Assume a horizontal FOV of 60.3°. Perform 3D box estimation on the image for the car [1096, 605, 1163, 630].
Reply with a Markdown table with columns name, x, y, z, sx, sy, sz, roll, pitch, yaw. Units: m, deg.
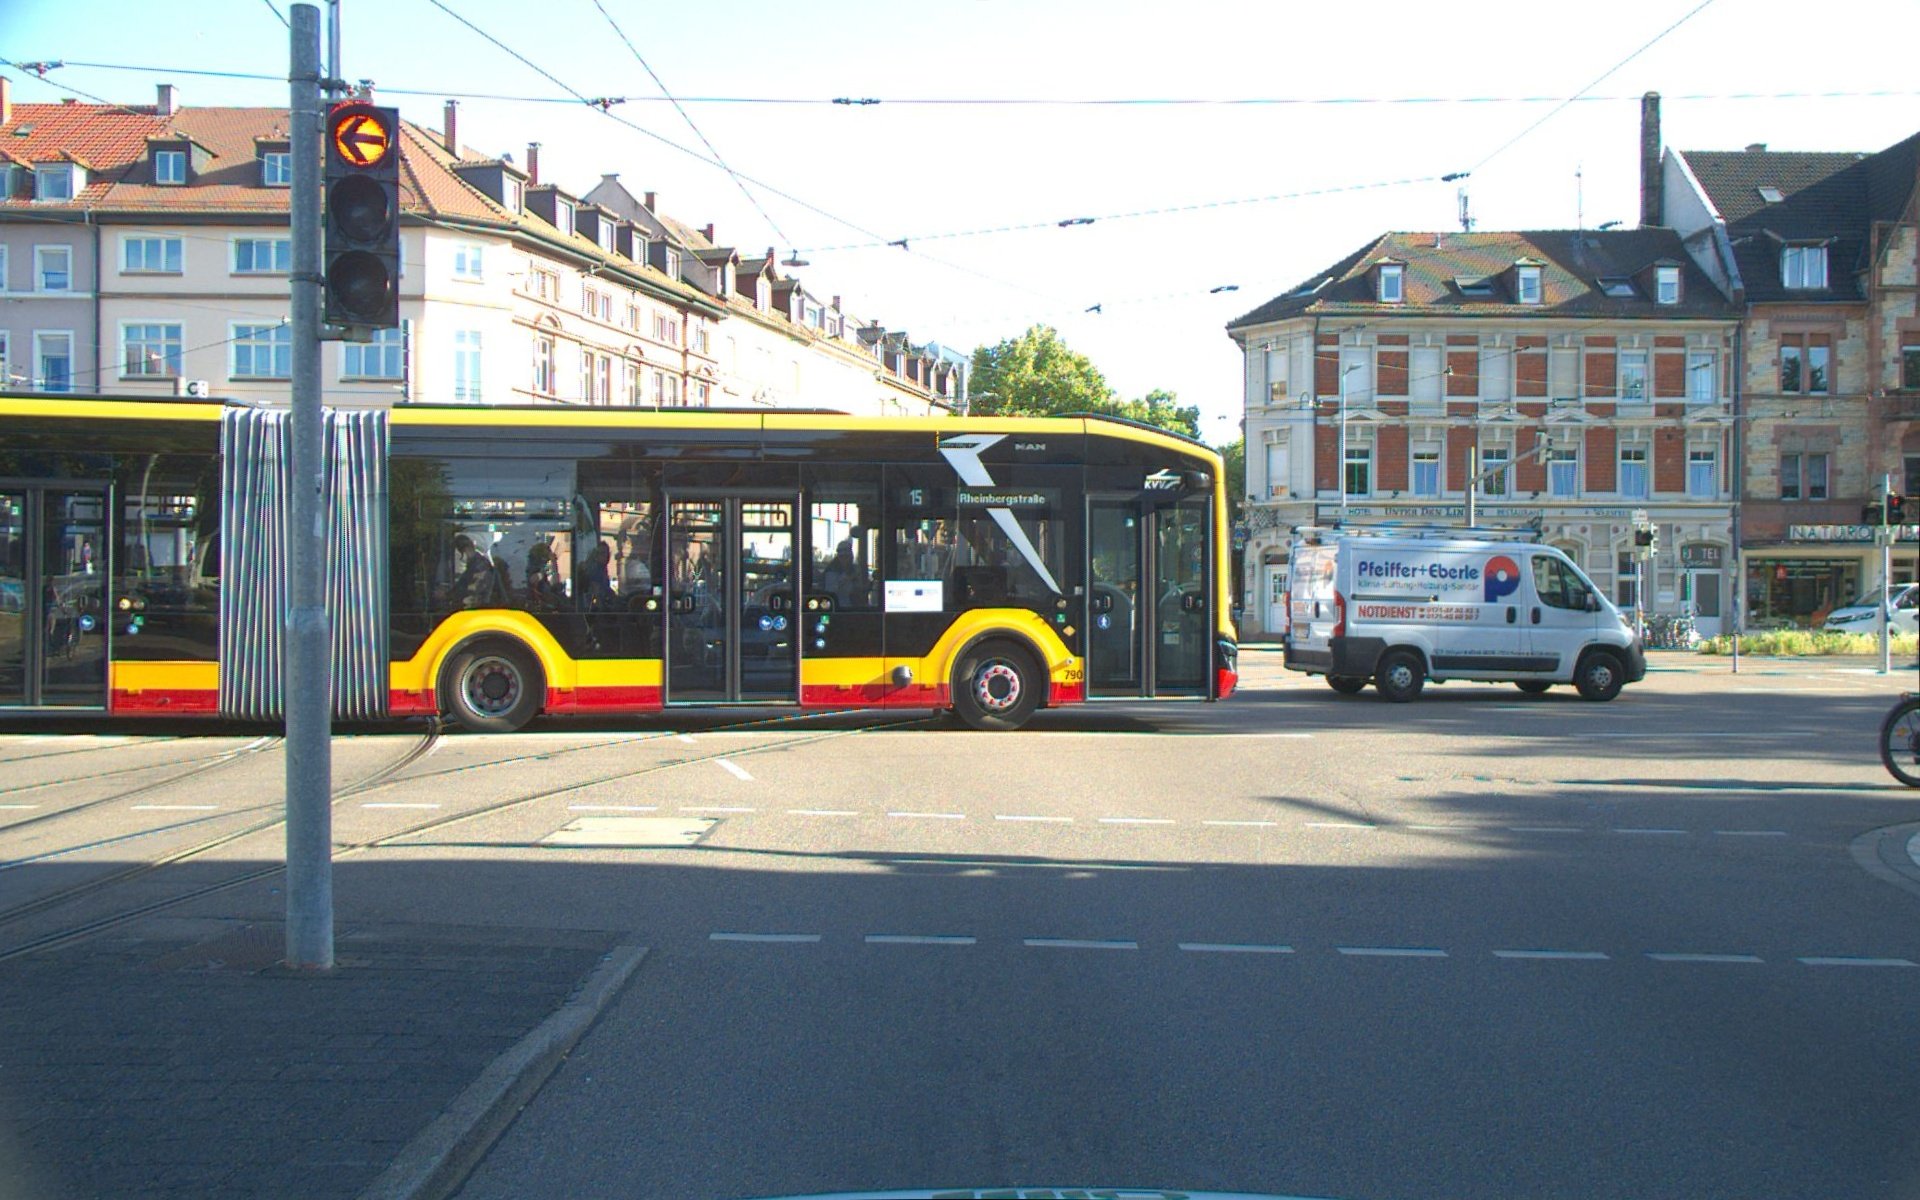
| name | x | y | z | sx | sy | sz | roll | pitch | yaw |
| --- | --- | --- | --- | --- | --- | --- | --- | --- | --- |
| car | 10.246 | 1.026 | 99.836 | 3.902 | 1.480 | 1.683 | 0 | 0 | 10 |

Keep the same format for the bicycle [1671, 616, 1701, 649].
| name | x | y | z | sx | sy | sz | roll | pitch | yaw |
| --- | --- | --- | --- | --- | --- | --- | --- | --- | --- |
| bicycle | 23.588 | 1.039 | 53.755 | 0.476 | 1.038 | 1.785 | 0 | 0 | 9 |

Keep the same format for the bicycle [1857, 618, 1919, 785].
| name | x | y | z | sx | sy | sz | roll | pitch | yaw |
| --- | --- | --- | --- | --- | --- | --- | --- | --- | --- |
| bicycle | 8.472 | 0.825 | 13.570 | 1.901 | 1.321 | 0.623 | 1 | 0 | -3 |

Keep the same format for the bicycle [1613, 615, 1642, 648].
| name | x | y | z | sx | sy | sz | roll | pitch | yaw |
| --- | --- | --- | --- | --- | --- | --- | --- | --- | --- |
| bicycle | 21.610 | 1.004 | 53.564 | 0.476 | 1.038 | 1.785 | 0 | 0 | 9 |

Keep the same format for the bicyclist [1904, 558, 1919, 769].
| name | x | y | z | sx | sy | sz | roll | pitch | yaw |
| --- | --- | --- | --- | --- | --- | --- | --- | --- | --- |
| bicyclist | 8.344 | 0.528 | 13.566 | 0.782 | 1.745 | 0.733 | 0 | 0 | -3 |

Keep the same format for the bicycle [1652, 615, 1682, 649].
| name | x | y | z | sx | sy | sz | roll | pitch | yaw |
| --- | --- | --- | --- | --- | --- | --- | --- | --- | --- |
| bicycle | 22.903 | 1.026 | 53.573 | 0.476 | 1.038 | 1.785 | 0 | 0 | 9 |

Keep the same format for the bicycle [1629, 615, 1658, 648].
| name | x | y | z | sx | sy | sz | roll | pitch | yaw |
| --- | --- | --- | --- | --- | --- | --- | --- | --- | --- |
| bicycle | 22.108 | 1.012 | 53.493 | 0.476 | 1.038 | 1.785 | 0 | 0 | 9 |

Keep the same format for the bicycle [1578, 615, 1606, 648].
| name | x | y | z | sx | sy | sz | roll | pitch | yaw |
| --- | --- | --- | --- | --- | --- | --- | --- | --- | --- |
| bicycle | 20.471 | 1.017 | 53.588 | 0.476 | 1.038 | 1.785 | 0 | 0 | 9 |

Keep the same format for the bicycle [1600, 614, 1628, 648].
| name | x | y | z | sx | sy | sz | roll | pitch | yaw |
| --- | --- | --- | --- | --- | --- | --- | --- | --- | --- |
| bicycle | 21.161 | 0.996 | 53.496 | 0.476 | 1.038 | 1.785 | 0 | 0 | 9 |

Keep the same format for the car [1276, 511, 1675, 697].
| name | x | y | z | sx | sy | sz | roll | pitch | yaw |
| --- | --- | --- | --- | --- | --- | --- | --- | --- | --- |
| car | 7.235 | 0.069 | 23.446 | 5.016 | 2.475 | 2.077 | 0 | 0 | -9 |

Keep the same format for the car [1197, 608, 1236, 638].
| name | x | y | z | sx | sy | sz | roll | pitch | yaw |
| --- | --- | --- | --- | --- | --- | --- | --- | --- | --- |
| car | 12.850 | 1.132 | 82.718 | 1.717 | 1.445 | 4.003 | 0 | 0 | 12 |

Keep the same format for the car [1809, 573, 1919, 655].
| name | x | y | z | sx | sy | sz | roll | pitch | yaw |
| --- | --- | --- | --- | --- | --- | --- | --- | --- | --- |
| car | 24.894 | 0.349 | 42.774 | 4.879 | 2.049 | 2.000 | 0 | 0 | -1 |

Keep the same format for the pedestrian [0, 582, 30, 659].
| name | x | y | z | sx | sy | sz | roll | pitch | yaw |
| --- | --- | --- | --- | --- | --- | --- | --- | --- | --- |
| pedestrian | -23.028 | 0.488 | 39.943 | 0.751 | 1.861 | 0.722 | 0 | 0 | -1 |

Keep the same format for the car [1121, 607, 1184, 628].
| name | x | y | z | sx | sy | sz | roll | pitch | yaw |
| --- | --- | --- | --- | --- | --- | --- | --- | --- | --- |
| car | 12.313 | 1.127 | 105.574 | 3.902 | 1.311 | 1.696 | 0 | 0 | 10 |

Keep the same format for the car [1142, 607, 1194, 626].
| name | x | y | z | sx | sy | sz | roll | pitch | yaw |
| --- | --- | --- | --- | --- | --- | --- | --- | --- | --- |
| car | 14.041 | 1.136 | 111.673 | 3.360 | 1.261 | 1.578 | 0 | 0 | 10 |

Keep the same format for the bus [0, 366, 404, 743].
| name | x | y | z | sx | sy | sz | roll | pitch | yaw |
| --- | --- | --- | --- | --- | --- | --- | --- | --- | --- |
| bus | -10.294 | -0.477 | 16.671 | 8.454 | 3.517 | 2.782 | 1 | 1 | -9 |

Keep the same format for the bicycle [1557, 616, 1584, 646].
| name | x | y | z | sx | sy | sz | roll | pitch | yaw |
| --- | --- | --- | --- | --- | --- | --- | --- | --- | --- |
| bicycle | 19.802 | 1.010 | 53.665 | 0.476 | 0.930 | 1.785 | 0 | 0 | 9 |

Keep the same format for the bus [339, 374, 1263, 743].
| name | x | y | z | sx | sy | sz | roll | pitch | yaw |
| --- | --- | --- | --- | --- | --- | --- | --- | --- | --- |
| bus | -1.602 | -0.367 | 18.049 | 9.237 | 3.517 | 2.775 | 1 | 1 | -9 |
